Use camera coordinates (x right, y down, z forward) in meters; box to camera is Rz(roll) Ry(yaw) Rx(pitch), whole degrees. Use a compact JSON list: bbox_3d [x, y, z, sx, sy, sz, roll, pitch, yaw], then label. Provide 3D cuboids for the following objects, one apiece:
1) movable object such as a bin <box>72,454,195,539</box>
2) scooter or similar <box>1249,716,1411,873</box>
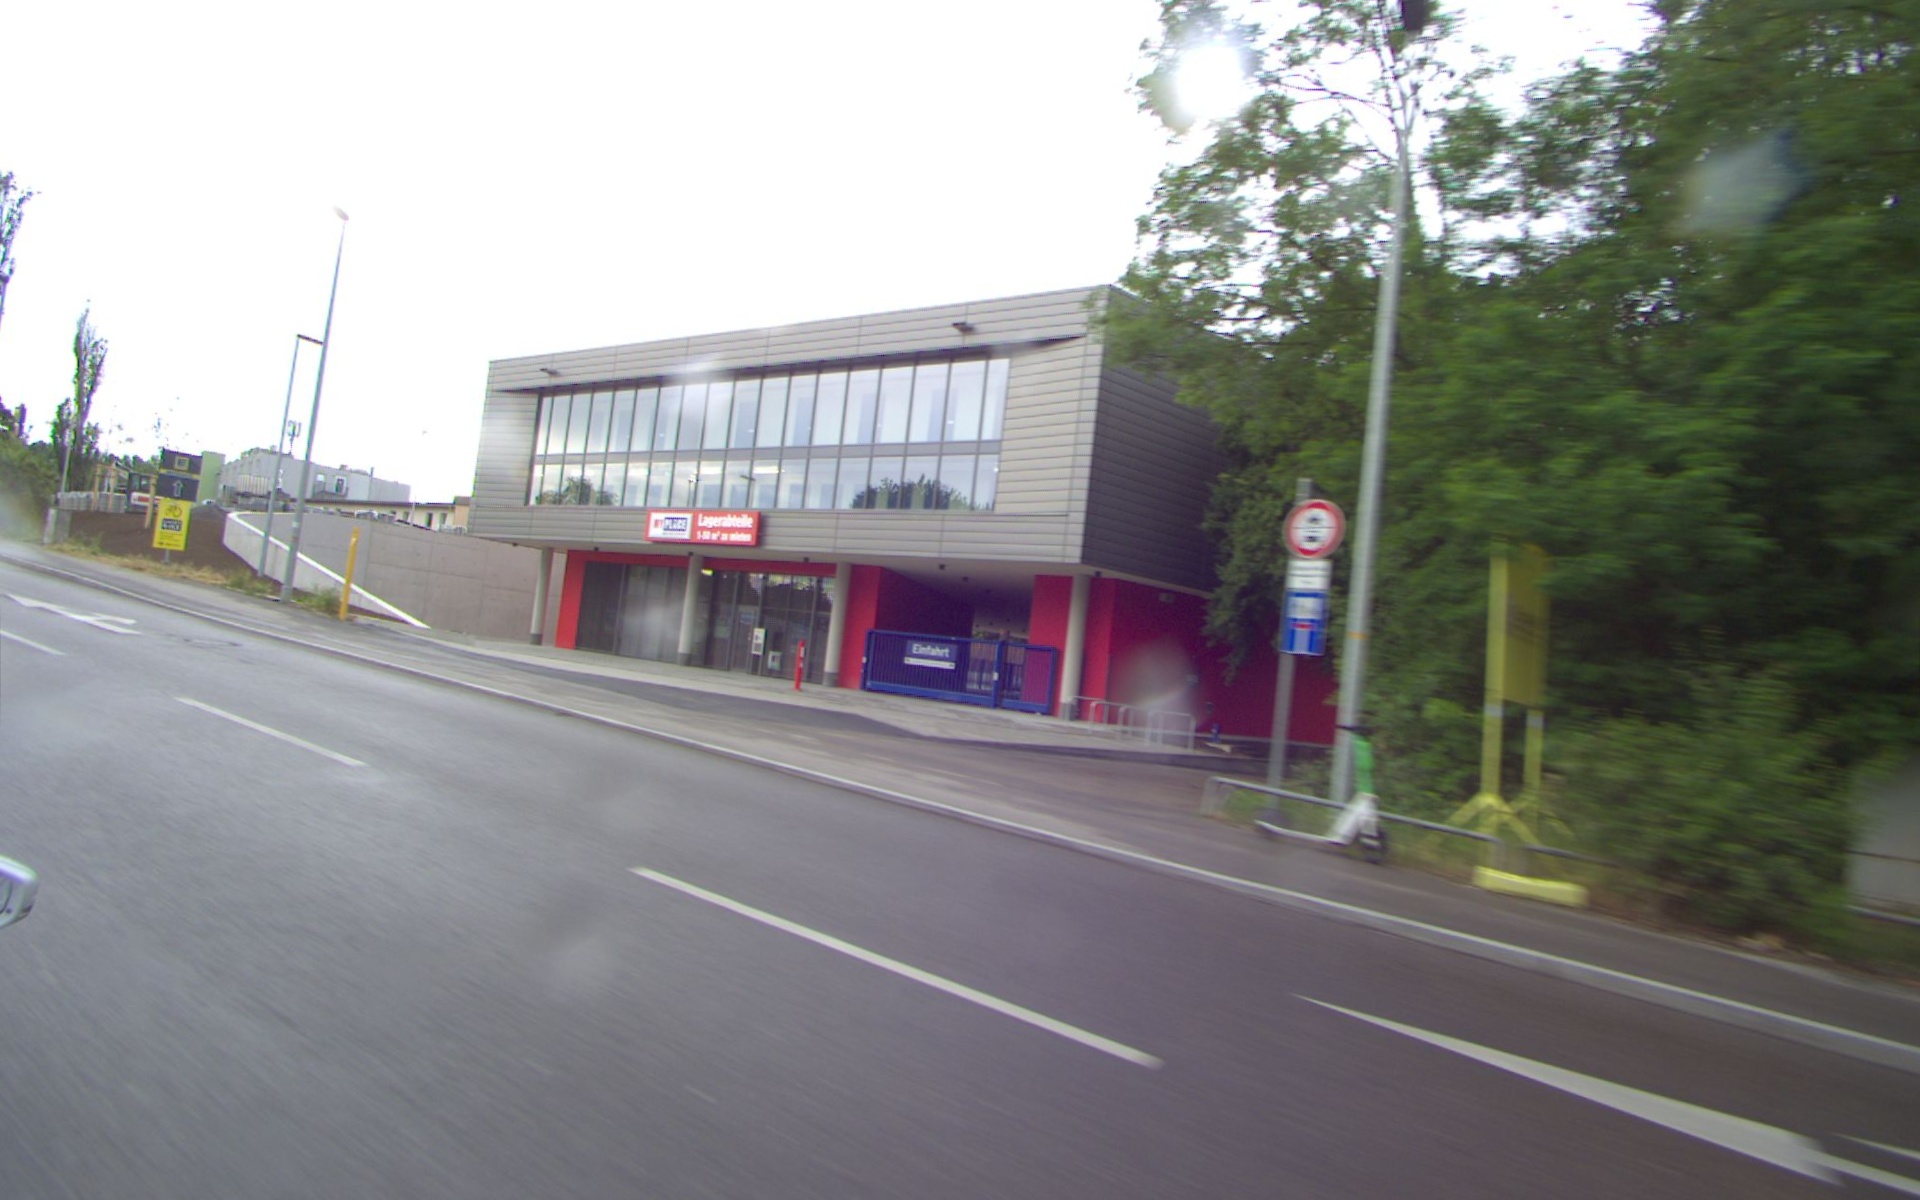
[{"bbox_3d":[-41.118,-5.160,50.041,5.327,3.312,2.311,8,-2,25],"label":"movable object such as a bin"},{"bbox_3d":[3.276,1.704,8.995,0.254,1.141,1.265,10,-3,-40],"label":"scooter or similar"}]
